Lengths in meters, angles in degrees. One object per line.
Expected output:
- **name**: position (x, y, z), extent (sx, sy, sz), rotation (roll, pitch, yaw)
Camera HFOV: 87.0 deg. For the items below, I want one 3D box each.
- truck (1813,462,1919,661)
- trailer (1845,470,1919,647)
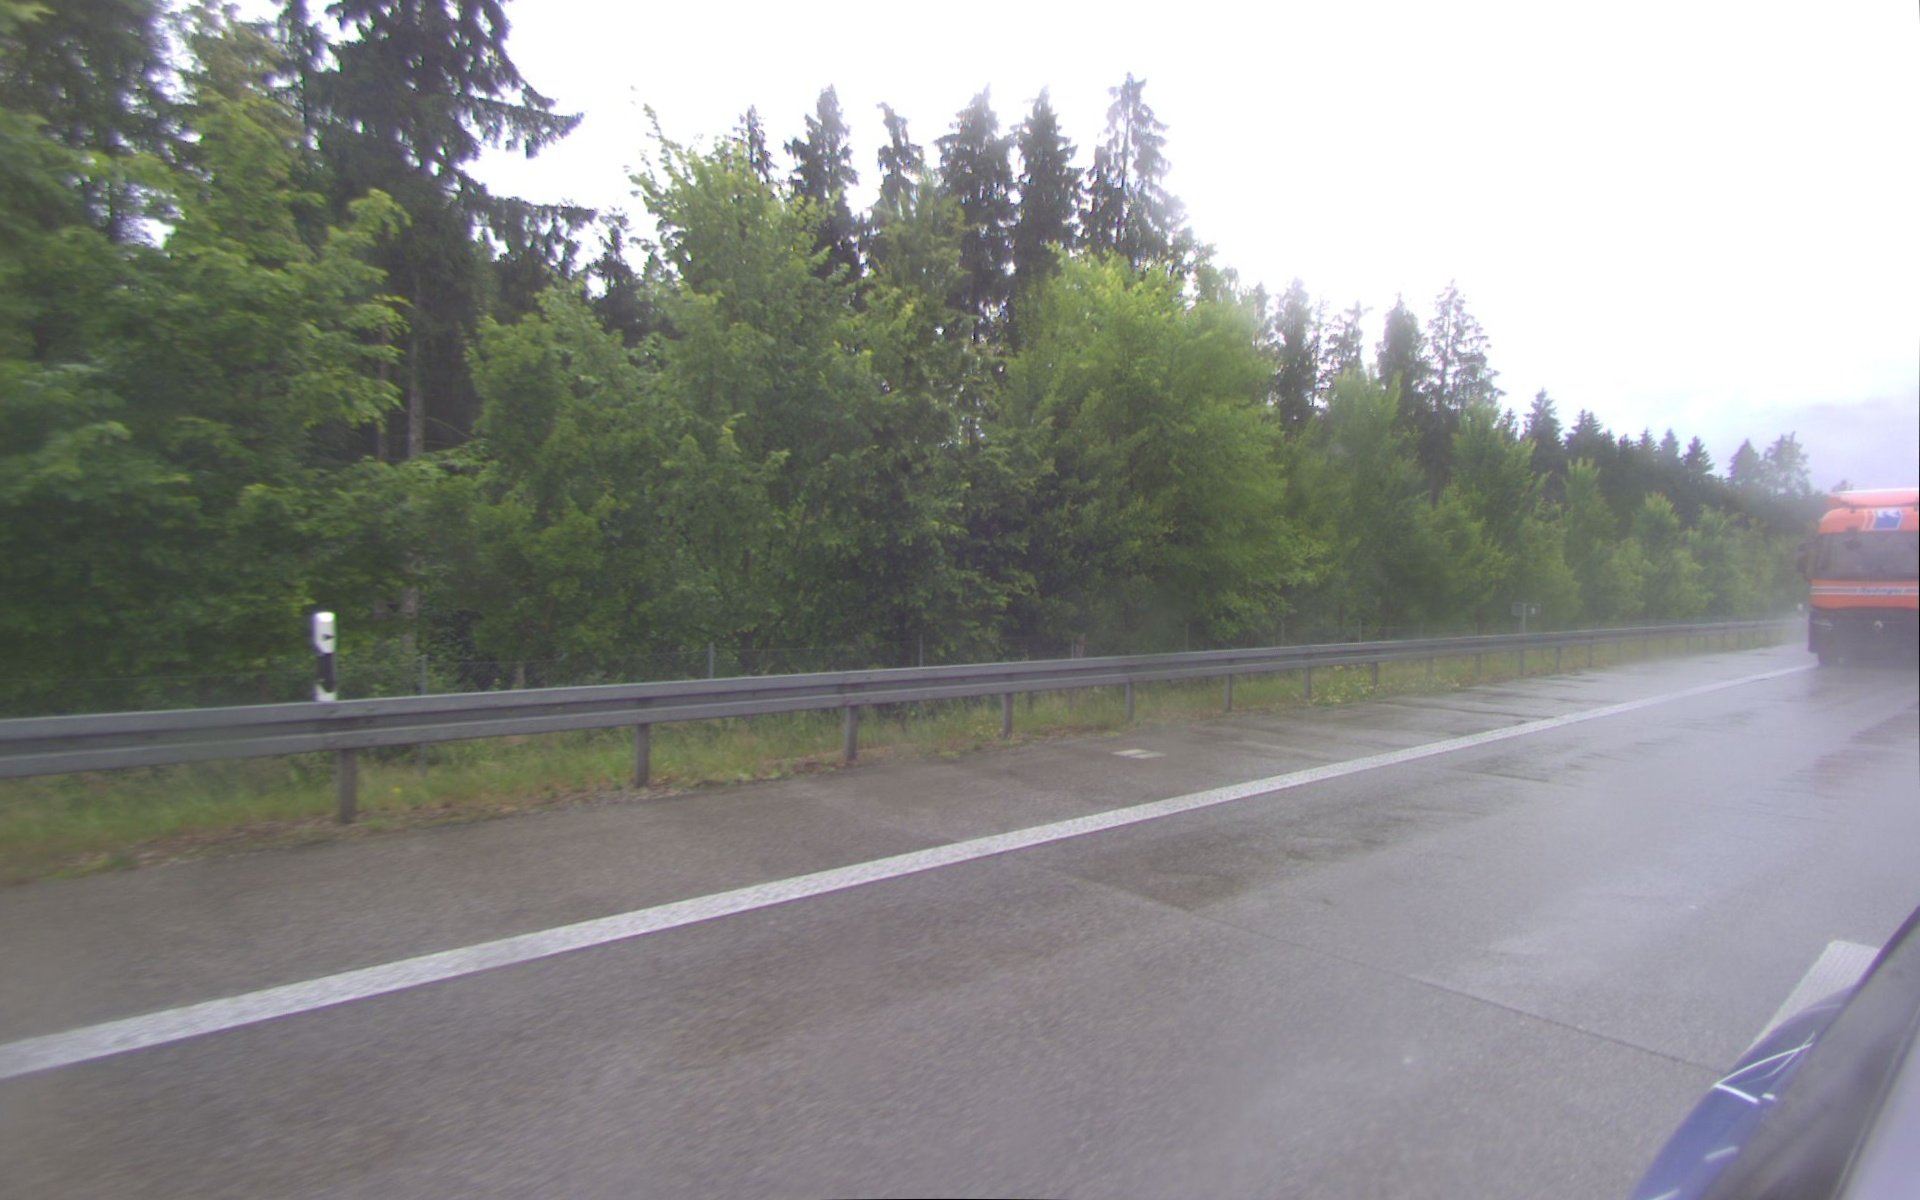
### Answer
- **truck**: position (21.822, -0.815, 22.976), extent (5.341, 4.137, 2.765), rotation (0, 3, -41)
- **trailer**: position (27.666, -0.973, 28.062), extent (12.777, 4.207, 2.801), rotation (0, 3, -41)
